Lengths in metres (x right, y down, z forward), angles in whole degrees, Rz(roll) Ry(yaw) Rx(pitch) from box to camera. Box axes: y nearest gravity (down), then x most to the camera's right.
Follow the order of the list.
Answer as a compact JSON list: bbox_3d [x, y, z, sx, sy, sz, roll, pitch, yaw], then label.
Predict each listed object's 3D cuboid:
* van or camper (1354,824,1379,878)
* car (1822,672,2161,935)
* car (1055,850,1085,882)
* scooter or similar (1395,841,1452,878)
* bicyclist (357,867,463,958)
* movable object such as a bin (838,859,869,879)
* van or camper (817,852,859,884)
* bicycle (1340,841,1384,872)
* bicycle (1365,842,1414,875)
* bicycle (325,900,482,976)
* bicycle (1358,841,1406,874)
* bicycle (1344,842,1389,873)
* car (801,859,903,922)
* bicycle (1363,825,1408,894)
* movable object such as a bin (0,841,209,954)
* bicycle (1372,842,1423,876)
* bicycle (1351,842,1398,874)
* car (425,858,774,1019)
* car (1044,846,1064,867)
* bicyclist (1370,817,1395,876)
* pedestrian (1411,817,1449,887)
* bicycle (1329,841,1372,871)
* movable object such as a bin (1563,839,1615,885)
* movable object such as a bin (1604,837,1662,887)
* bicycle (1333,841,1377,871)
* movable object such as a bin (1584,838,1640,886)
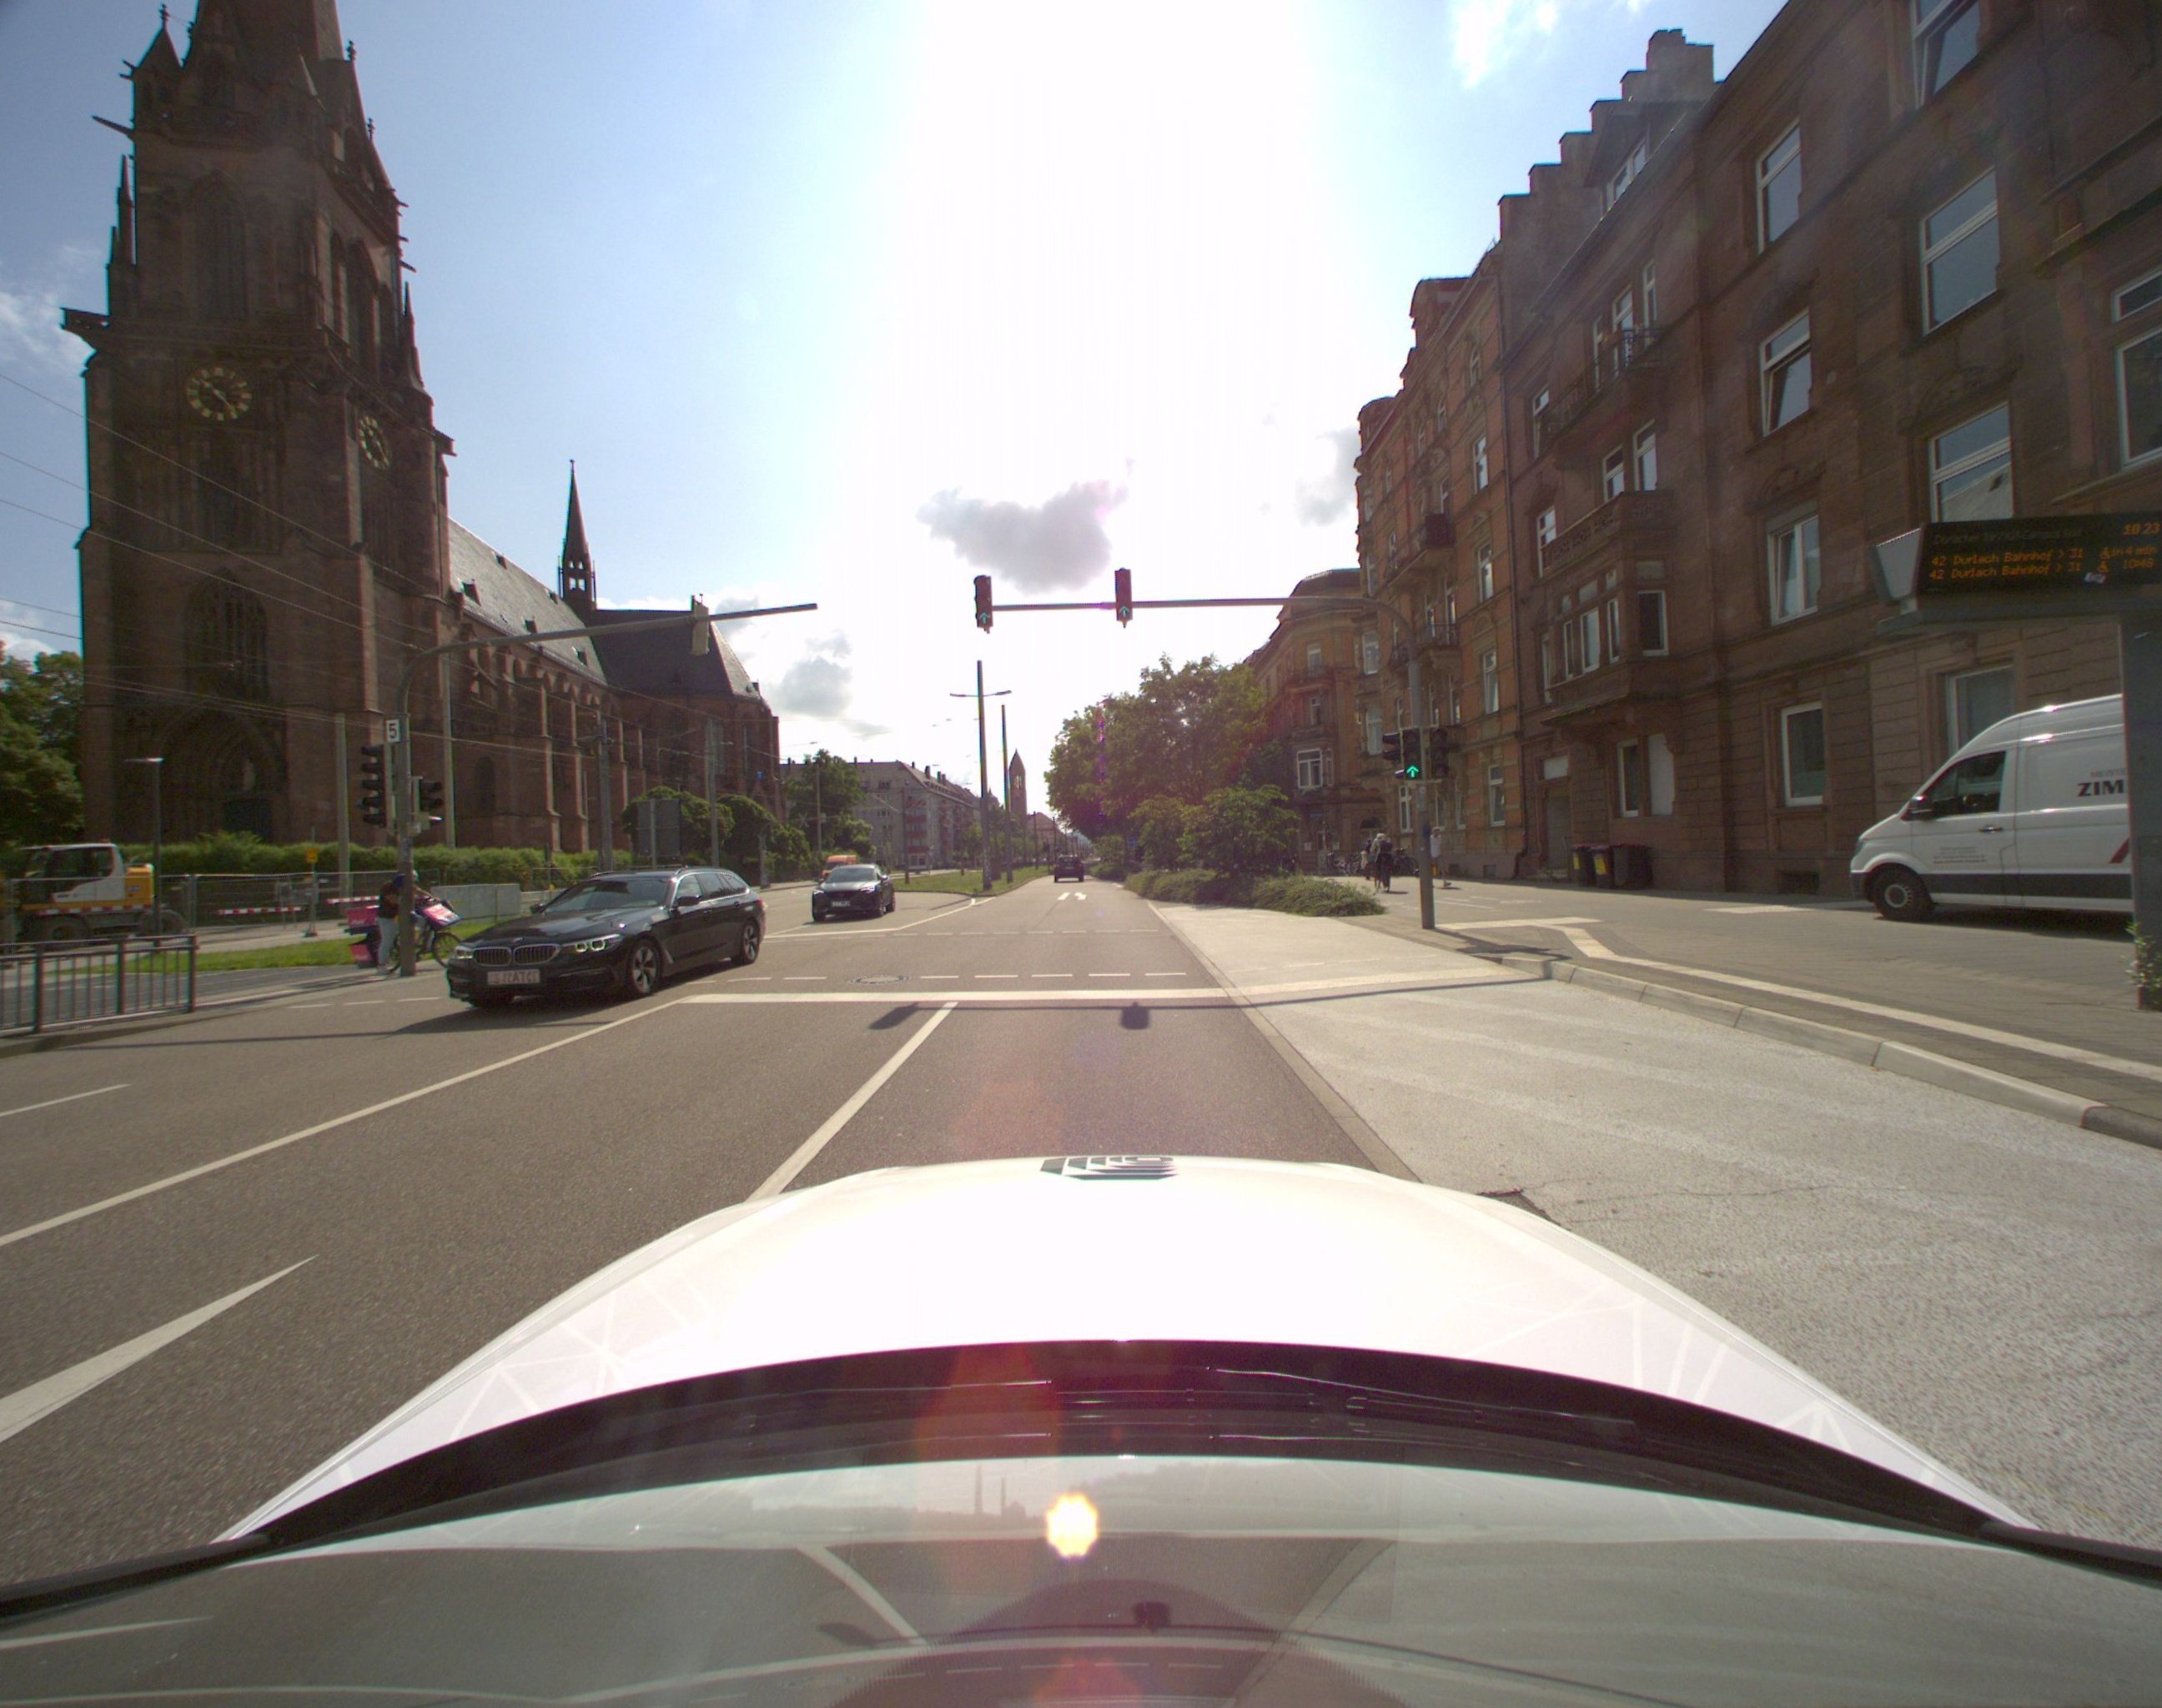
[{"bbox_3d":[11.017,-0.116,31.438,0.663,2.013,0.638,-3,0,1],"label":"van or camper"},{"bbox_3d":[11.403,-0.519,8.531,1.986,2.525,5.891,-2,0,2],"label":"car"},{"bbox_3d":[-0.658,0.690,50.045,1.683,1.711,3.609,-2,2,0],"label":"car"},{"bbox_3d":[12.392,0.207,29.463,1.763,1.185,0.467,-4,-1,1],"label":"scooter or similar"},{"bbox_3d":[-11.281,0.974,13.717,1.082,1.436,0.827,-3,0,11],"label":"bicyclist"},{"bbox_3d":[-22.948,1.531,82.424,2.202,1.693,3.713,-3,2,-3],"label":"movable object such as a bin"},{"bbox_3d":[-22.667,1.254,76.271,2.250,2.737,6.196,-3,0,-3],"label":"van or camper"},{"bbox_3d":[12.278,0.108,35.604,1.761,1.267,0.467,-2,2,4],"label":"bicycle"},{"bbox_3d":[12.389,0.180,32.725,1.737,1.267,0.467,-2,2,4],"label":"bicycle"},{"bbox_3d":[-11.344,1.400,13.673,2.005,1.126,0.934,-3,0,11],"label":"bicycle"},{"bbox_3d":[12.342,0.156,33.404,1.761,1.267,0.467,-2,2,4],"label":"bicycle"},{"bbox_3d":[12.263,0.150,34.981,1.761,1.267,0.467,-2,2,4],"label":"bicycle"},{"bbox_3d":[-6.474,0.968,23.475,1.795,1.552,4.292,-2,0,-2],"label":"car"},{"bbox_3d":[8.925,0.154,23.947,0.681,1.925,1.590,-3,0,2],"label":"bicycle"},{"bbox_3d":[-30.552,1.234,25.389,1.984,3.105,4.007,-2,2,6],"label":"movable object such as a bin"},{"bbox_3d":[12.485,0.206,32.142,1.761,1.267,0.467,-2,2,4],"label":"bicycle"},{"bbox_3d":[12.316,0.170,34.178,1.761,1.267,0.467,-2,2,4],"label":"bicycle"},{"bbox_3d":[-5.759,0.870,10.577,1.812,1.552,4.558,-3,0,-1],"label":"car"},{"bbox_3d":[-2.751,0.275,84.054,1.988,2.013,3.998,-3,0,-1],"label":"car"},{"bbox_3d":[8.902,-0.221,24.055,0.426,1.718,0.828,-2,1,2],"label":"bicyclist"},{"bbox_3d":[10.434,-0.064,24.359,0.765,2.013,0.715,-3,0,2],"label":"pedestrian"},{"bbox_3d":[12.324,0.077,37.289,1.761,1.267,0.467,-2,2,4],"label":"bicycle"},{"bbox_3d":[12.778,0.194,20.498,0.783,1.107,0.776,-3,0,0],"label":"movable object such as a bin"},{"bbox_3d":[12.764,0.178,18.847,0.783,1.107,0.776,-3,0,0],"label":"movable object such as a bin"},{"bbox_3d":[12.334,0.085,36.681,1.761,1.267,0.467,-2,2,4],"label":"bicycle"},{"bbox_3d":[12.770,0.195,19.603,0.783,1.107,0.776,-3,0,0],"label":"movable object such as a bin"}]
